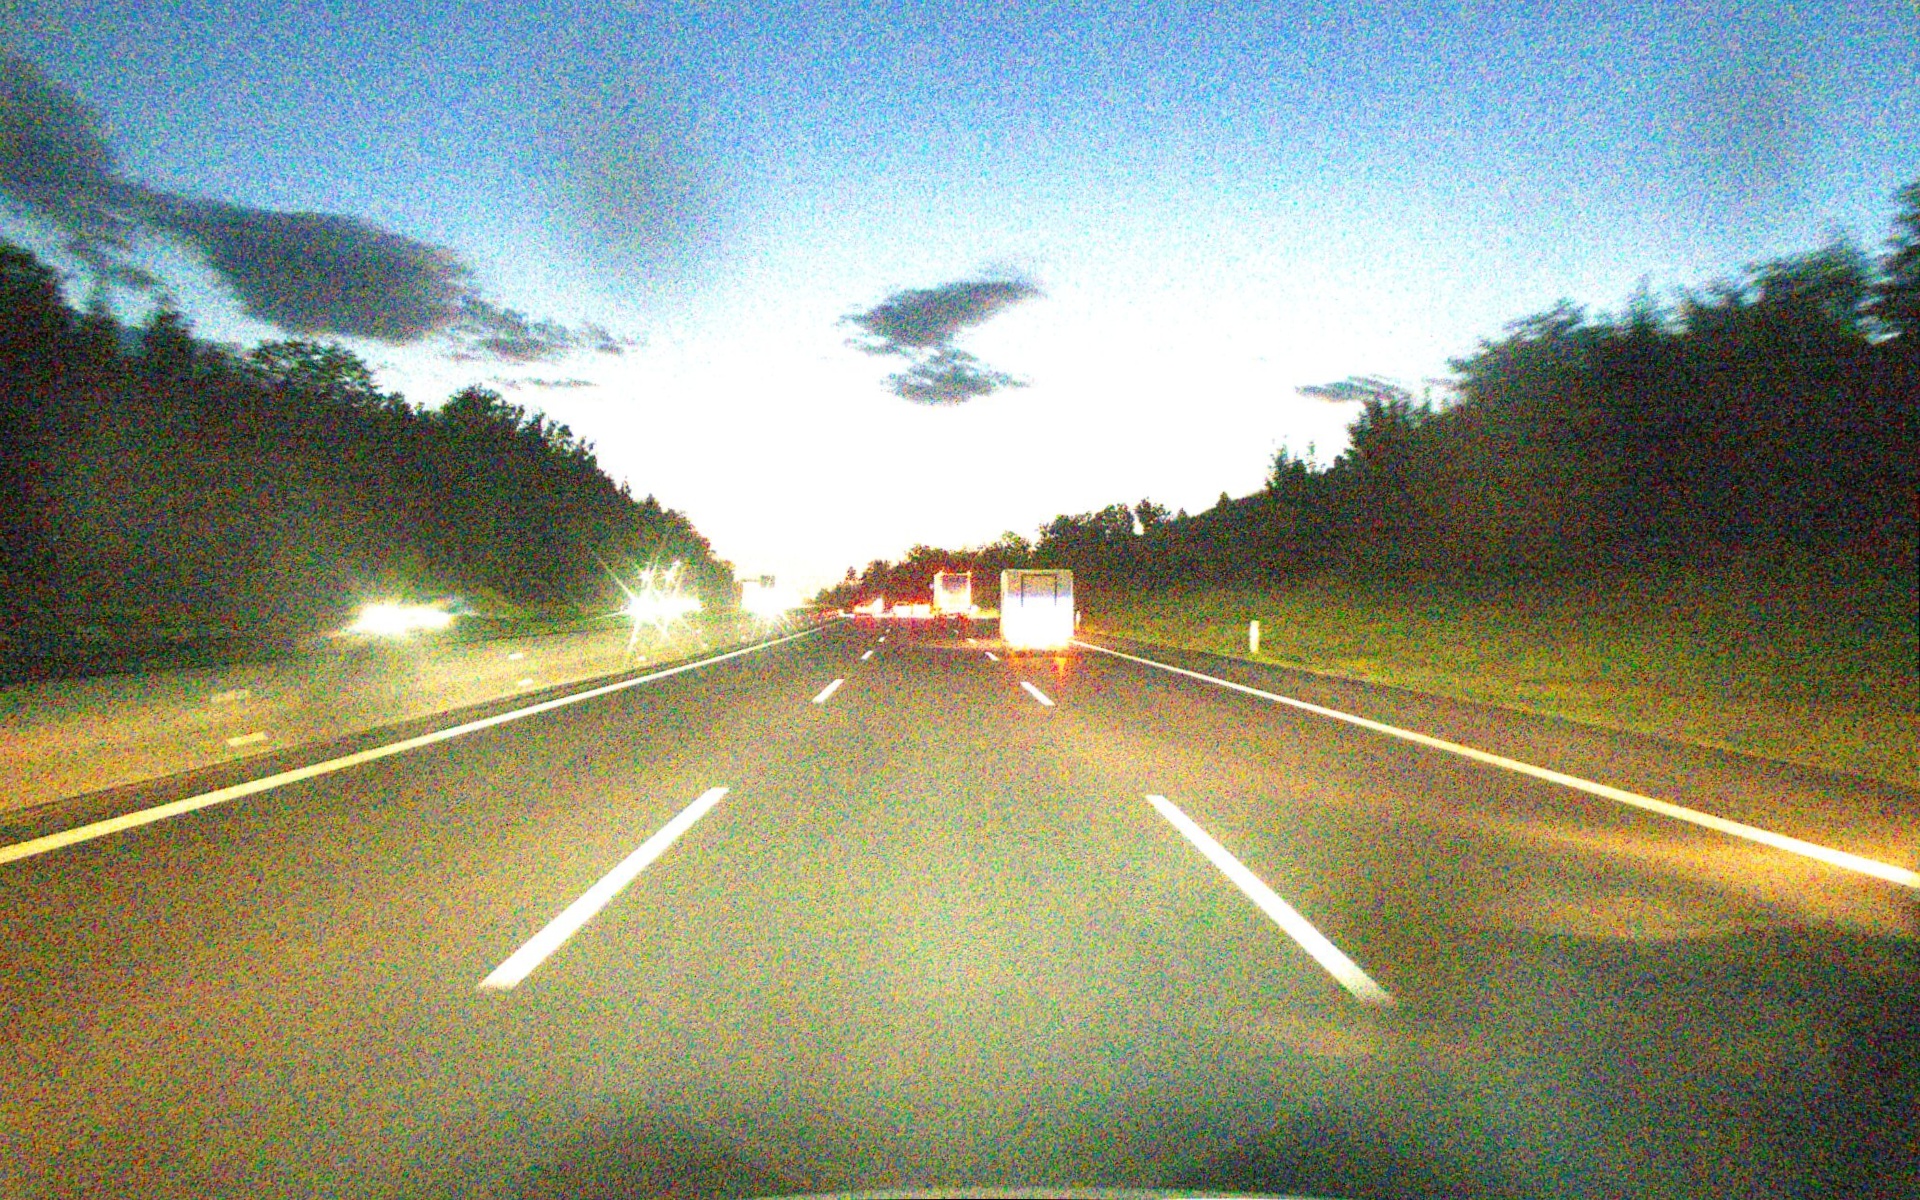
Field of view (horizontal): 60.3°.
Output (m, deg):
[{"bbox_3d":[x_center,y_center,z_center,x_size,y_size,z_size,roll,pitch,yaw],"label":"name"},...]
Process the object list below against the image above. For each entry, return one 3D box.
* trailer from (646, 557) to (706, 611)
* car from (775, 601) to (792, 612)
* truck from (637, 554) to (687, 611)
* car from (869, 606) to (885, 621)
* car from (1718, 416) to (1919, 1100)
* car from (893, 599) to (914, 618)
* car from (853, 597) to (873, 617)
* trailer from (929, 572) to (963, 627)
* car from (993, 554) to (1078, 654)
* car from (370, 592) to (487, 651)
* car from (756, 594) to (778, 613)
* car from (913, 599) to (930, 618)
[{"bbox_3d":[-22.396,-1.216,131.258,2.796,4.050,13.880,1,0,-2],"label":"trailer"},{"bbox_3d":[-26.350,0.974,247.142,2.200,1.697,4.886,1,0,-4],"label":"car"},{"bbox_3d":[-22.114,-1.264,123.013,2.796,4.050,5.857,1,0,-2],"label":"truck"},{"bbox_3d":[-11.171,1.790,222.730,1.953,1.848,3.998,1,-2,-1],"label":"car"},{"bbox_3d":[3.908,0.467,3.403,2.072,2.036,5.663,0,0,0],"label":"car"},{"bbox_3d":[-5.830,0.879,169.499,1.954,1.825,3.996,1,-2,-4],"label":"car"},{"bbox_3d":[-9.586,0.667,163.725,1.954,1.825,3.997,1,-2,-3],"label":"car"},{"bbox_3d":[-1.323,0.094,148.065,2.772,4.332,17.041,1,-2,-1],"label":"trailer"},{"bbox_3d":[2.099,0.123,47.713,1.991,2.693,5.722,0,0,-2],"label":"car"},{"bbox_3d":[-16.177,0.619,50.594,1.969,1.699,4.948,1,0,0],"label":"car"},{"bbox_3d":[-22.355,0.349,191.924,2.199,2.138,5.712,1,1,-3],"label":"car"},{"bbox_3d":[-4.654,1.090,199.840,1.953,2.154,3.997,1,-2,-2],"label":"car"}]
